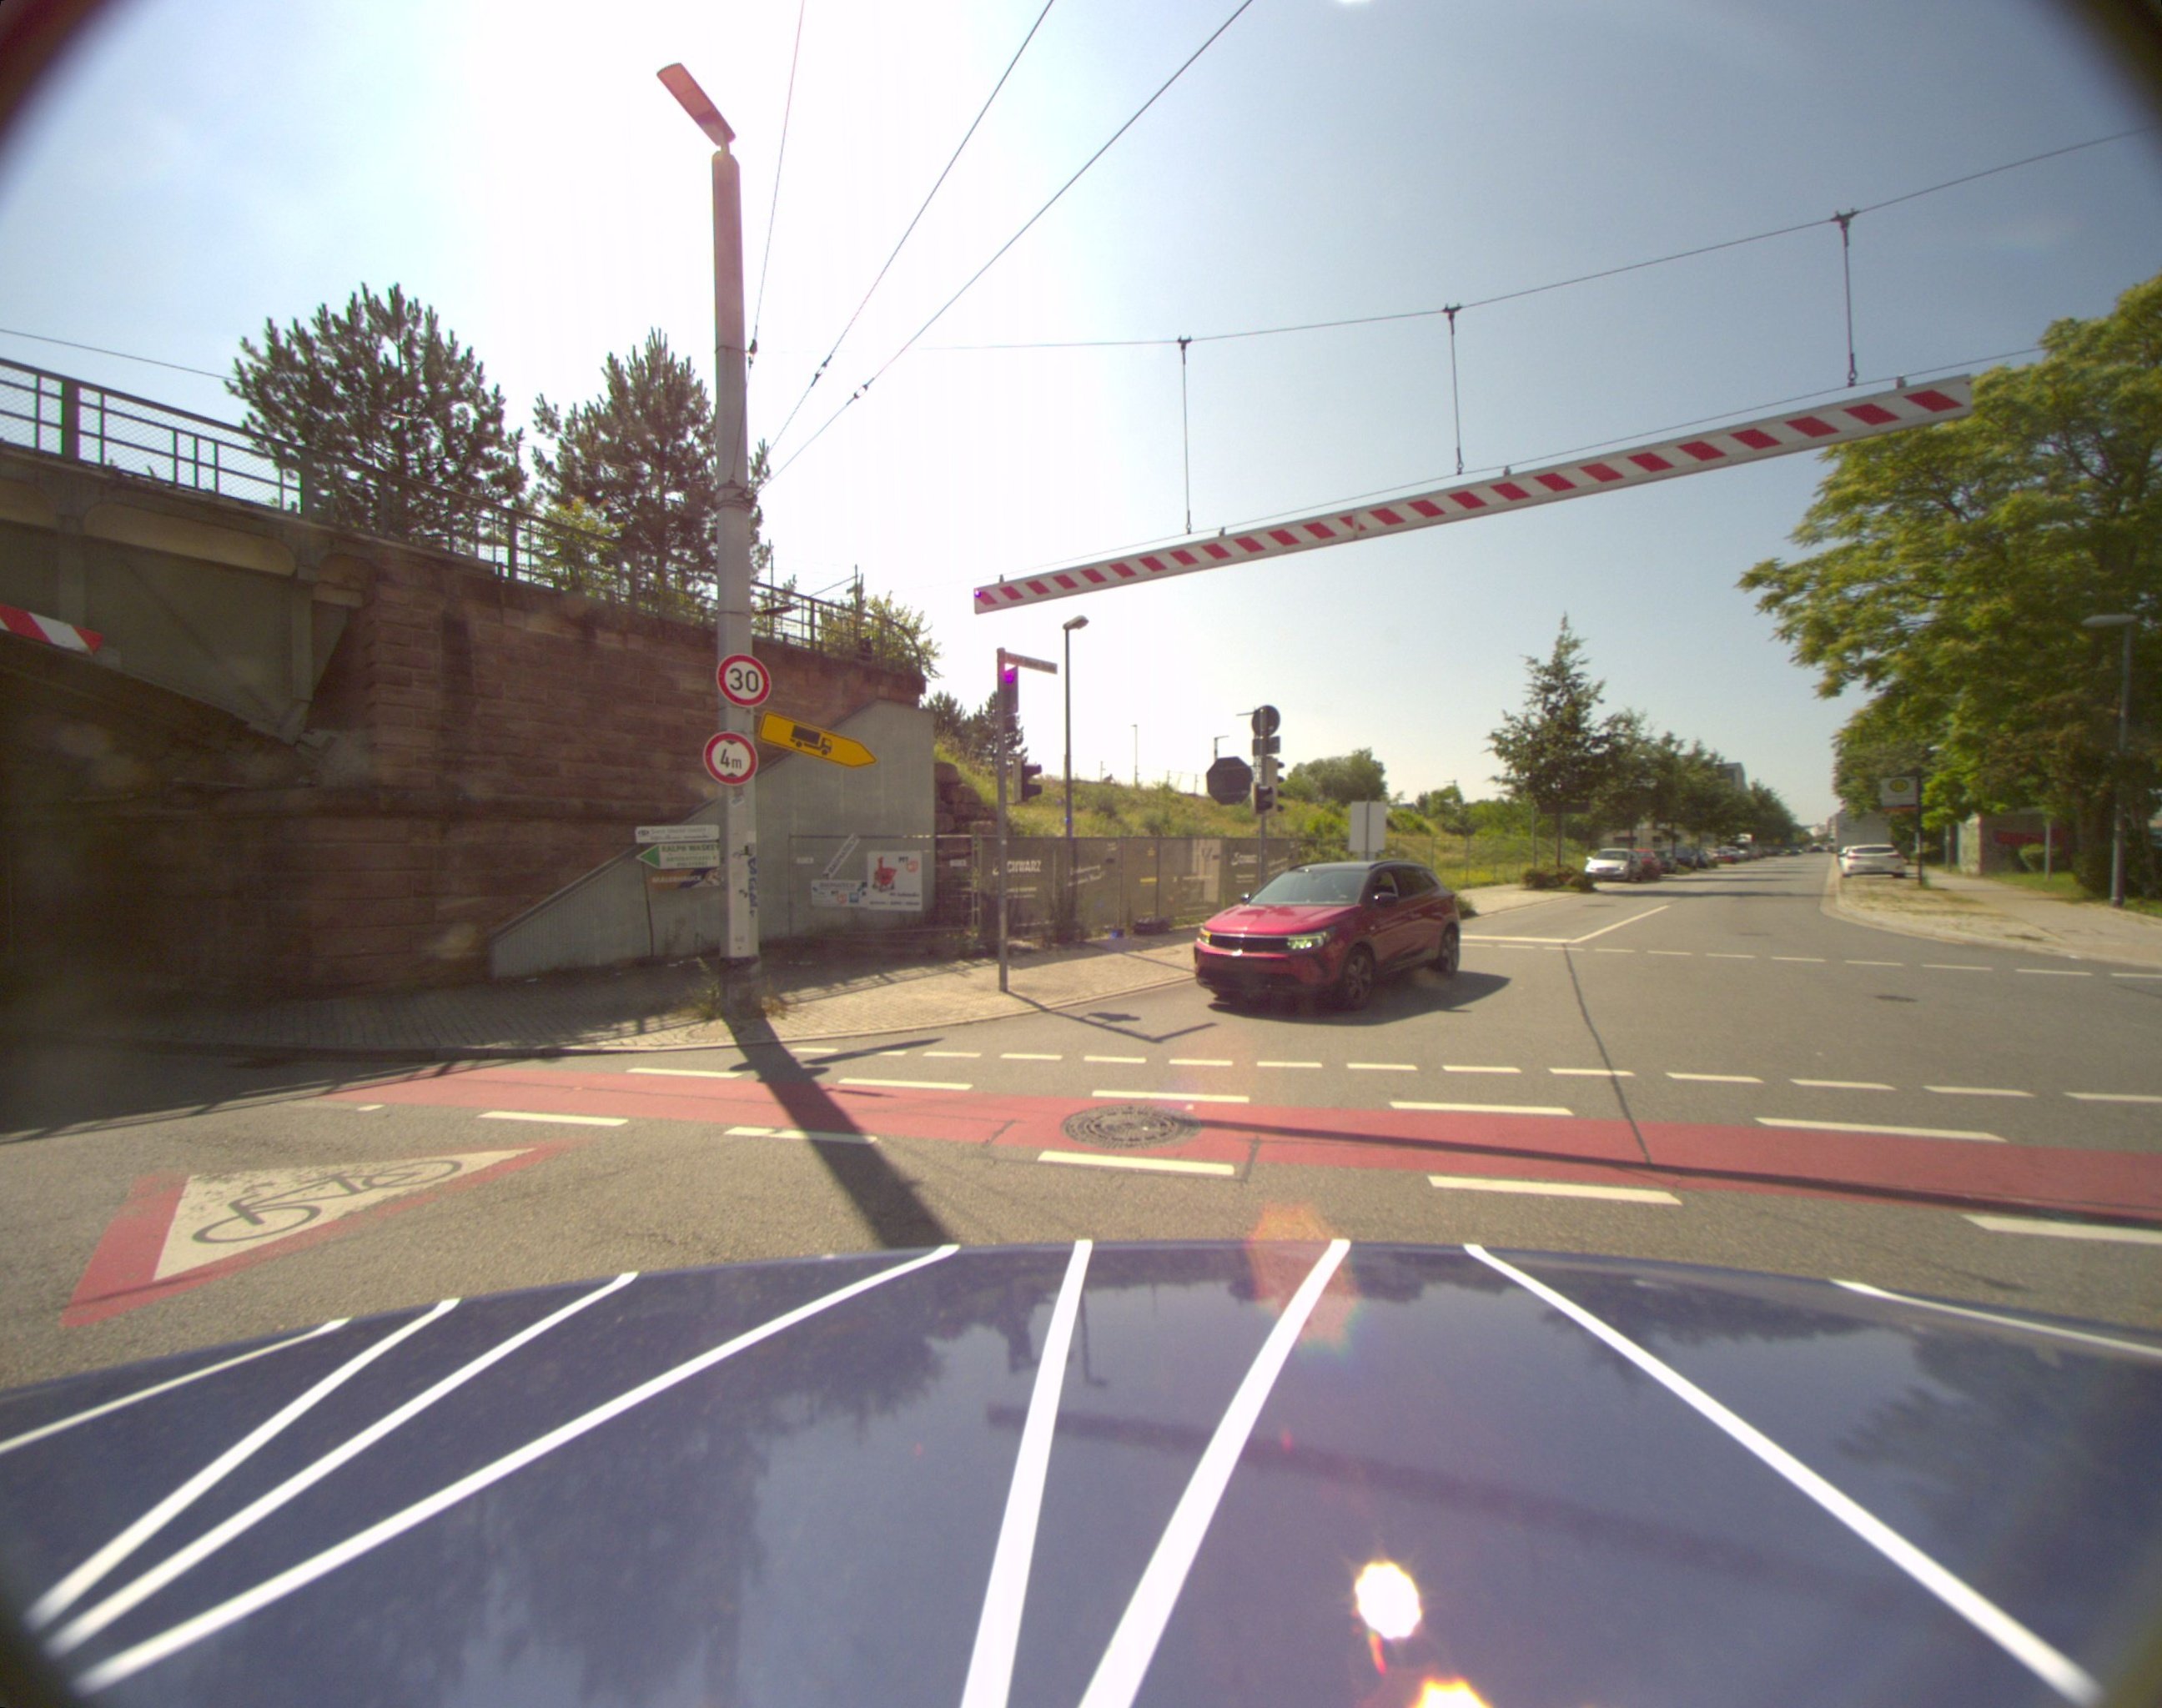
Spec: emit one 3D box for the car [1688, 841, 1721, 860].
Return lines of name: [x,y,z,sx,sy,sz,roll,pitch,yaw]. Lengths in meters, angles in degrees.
car: [53.799,-0.296,65.555,1.843,1.607,4.008,1,1,44]

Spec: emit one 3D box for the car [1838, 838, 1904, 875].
car: [34.495,0.104,33.265,1.762,1.484,4.008,-3,-1,43]

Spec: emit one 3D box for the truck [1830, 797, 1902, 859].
truck: [57.418,-1.809,55.741,3.347,4.118,9.296,-2,-1,45]

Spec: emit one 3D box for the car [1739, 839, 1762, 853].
car: [79.506,-0.909,90.243,1.843,1.607,4.008,1,1,44]

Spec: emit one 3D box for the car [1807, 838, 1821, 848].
car: [143.414,-2.118,148.689,4.008,1.783,1.787,-1,0,-44]

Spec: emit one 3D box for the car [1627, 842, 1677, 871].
car: [34.315,0.106,45.614,1.843,1.607,4.008,2,2,44]

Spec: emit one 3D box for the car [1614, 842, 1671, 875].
car: [29.481,0.202,39.860,1.843,1.607,4.008,2,2,44]

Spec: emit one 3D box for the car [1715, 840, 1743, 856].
car: [66.002,-0.617,77.345,1.843,1.607,4.008,1,1,44]

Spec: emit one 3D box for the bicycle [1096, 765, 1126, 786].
bicycle: [2.057,-5.256,51.200,0.935,1.206,2.178,-3,0,36]

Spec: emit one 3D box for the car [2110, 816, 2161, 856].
car: [50.332,-0.829,34.116,4.708,1.793,2.002,-1,-1,14]

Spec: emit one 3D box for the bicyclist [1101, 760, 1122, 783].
bicyclist: [2.047,-5.533,51.214,0.950,1.380,1.065,-3,0,35]

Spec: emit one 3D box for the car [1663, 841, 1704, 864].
car: [41.586,-0.108,52.410,1.865,1.533,4.008,-1,0,44]

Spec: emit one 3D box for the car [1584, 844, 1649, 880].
car: [26.148,0.349,37.021,1.842,1.607,4.379,3,3,44]

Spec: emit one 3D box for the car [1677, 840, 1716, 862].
car: [46.082,-0.238,56.878,1.843,1.607,4.008,2,2,44]

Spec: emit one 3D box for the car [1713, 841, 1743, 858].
car: [60.739,-0.453,71.360,1.843,1.607,4.008,1,1,44]

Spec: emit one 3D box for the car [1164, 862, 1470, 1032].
car: [3.100,0.921,9.403,1.818,1.594,4.316,-2,-1,45]
